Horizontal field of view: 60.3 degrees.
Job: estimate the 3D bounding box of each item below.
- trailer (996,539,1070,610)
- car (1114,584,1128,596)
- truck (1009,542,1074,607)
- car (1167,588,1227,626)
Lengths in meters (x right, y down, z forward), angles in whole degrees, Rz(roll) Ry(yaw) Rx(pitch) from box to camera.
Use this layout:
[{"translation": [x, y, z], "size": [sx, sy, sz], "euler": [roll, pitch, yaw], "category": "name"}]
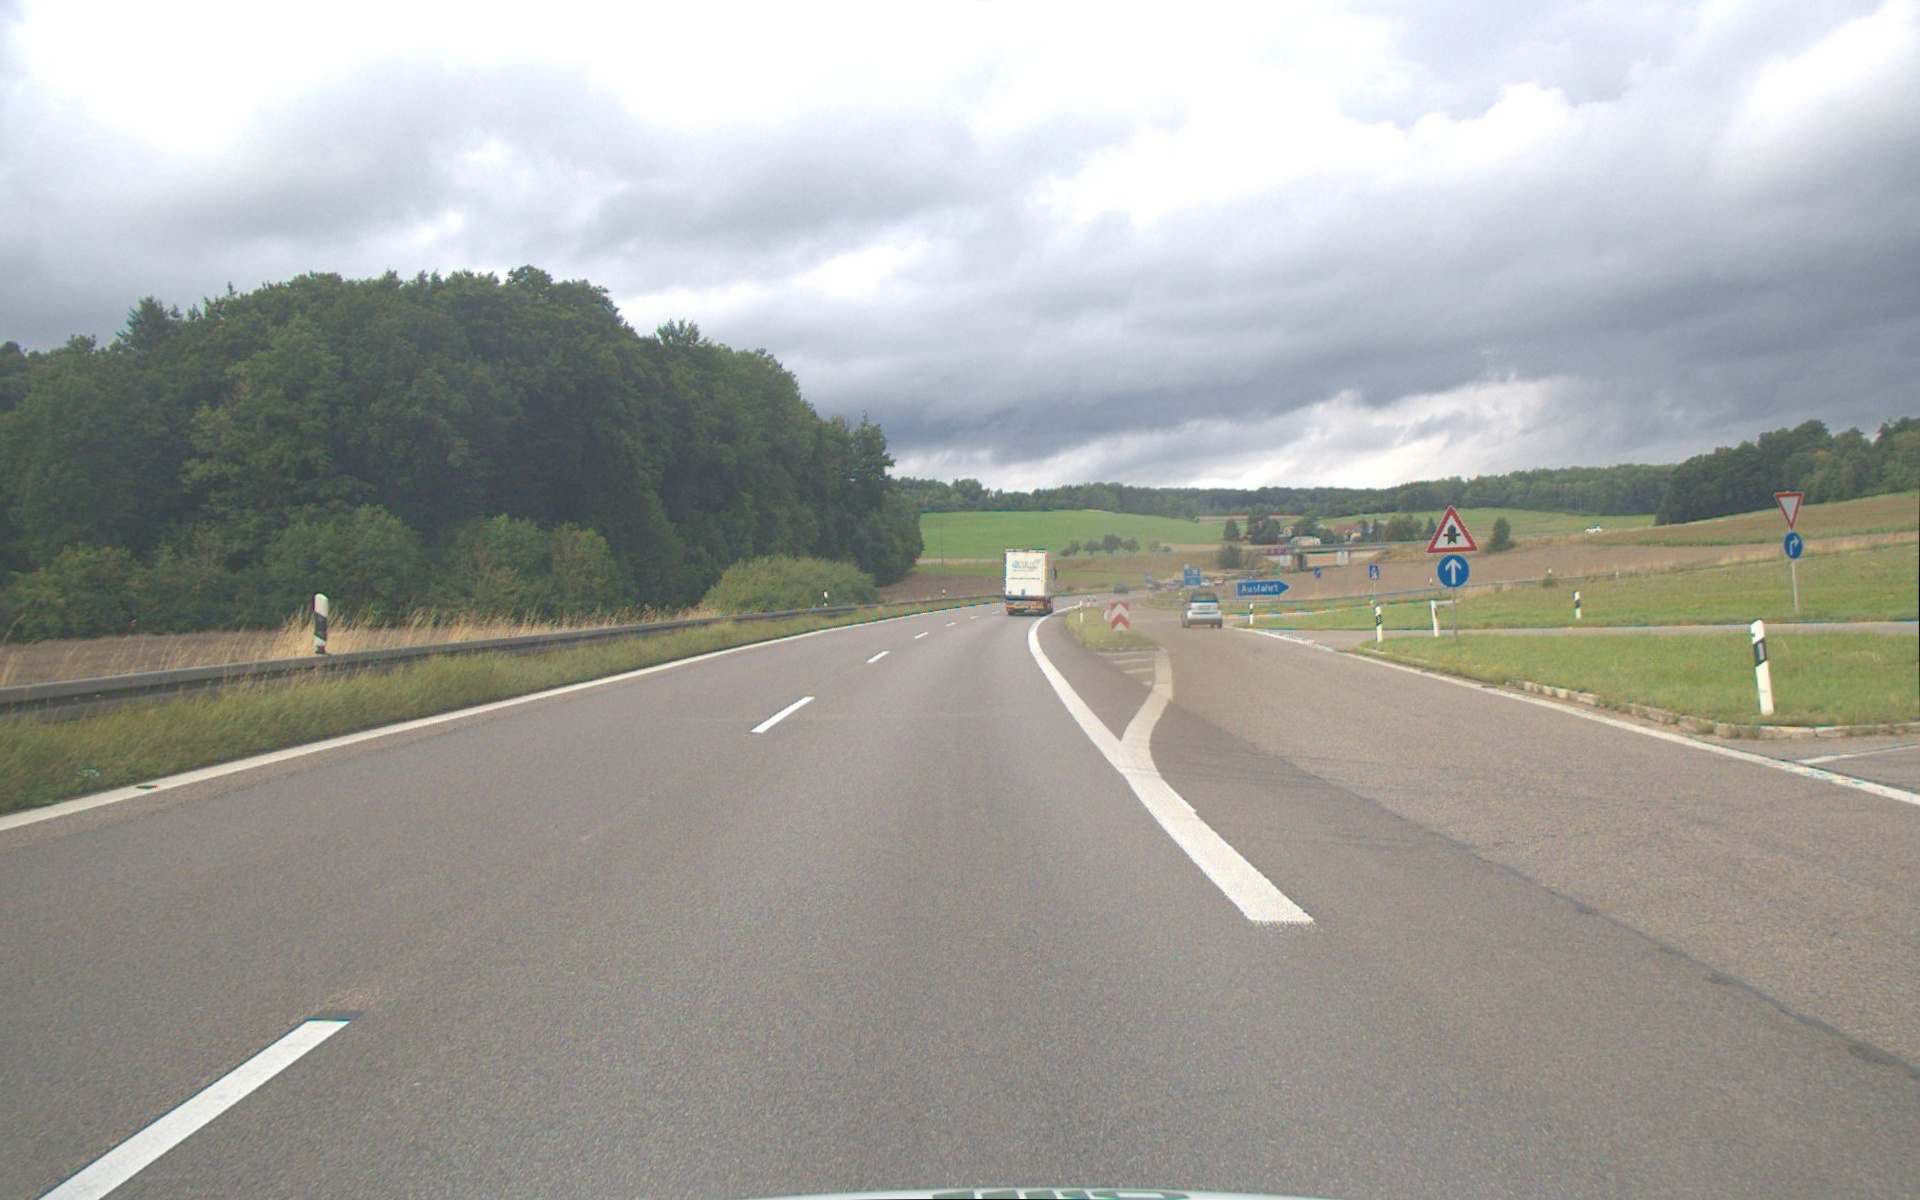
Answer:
[{"translation": [4.849, -1.630, 106.365], "size": [3.725, 4.247, 14.819], "euler": [0, 1, 6], "category": "trailer"}, {"translation": [24.770, -1.553, 253.904], "size": [1.862, 1.827, 4.003], "euler": [0, -1, 9], "category": "car"}, {"translation": [5.640, -1.737, 113.067], "size": [3.707, 4.204, 8.271], "euler": [2, 1, 7], "category": "truck"}, {"translation": [10.328, 0.273, 72.441], "size": [1.743, 1.579, 3.996], "euler": [-1, 1, -5], "category": "car"}]
